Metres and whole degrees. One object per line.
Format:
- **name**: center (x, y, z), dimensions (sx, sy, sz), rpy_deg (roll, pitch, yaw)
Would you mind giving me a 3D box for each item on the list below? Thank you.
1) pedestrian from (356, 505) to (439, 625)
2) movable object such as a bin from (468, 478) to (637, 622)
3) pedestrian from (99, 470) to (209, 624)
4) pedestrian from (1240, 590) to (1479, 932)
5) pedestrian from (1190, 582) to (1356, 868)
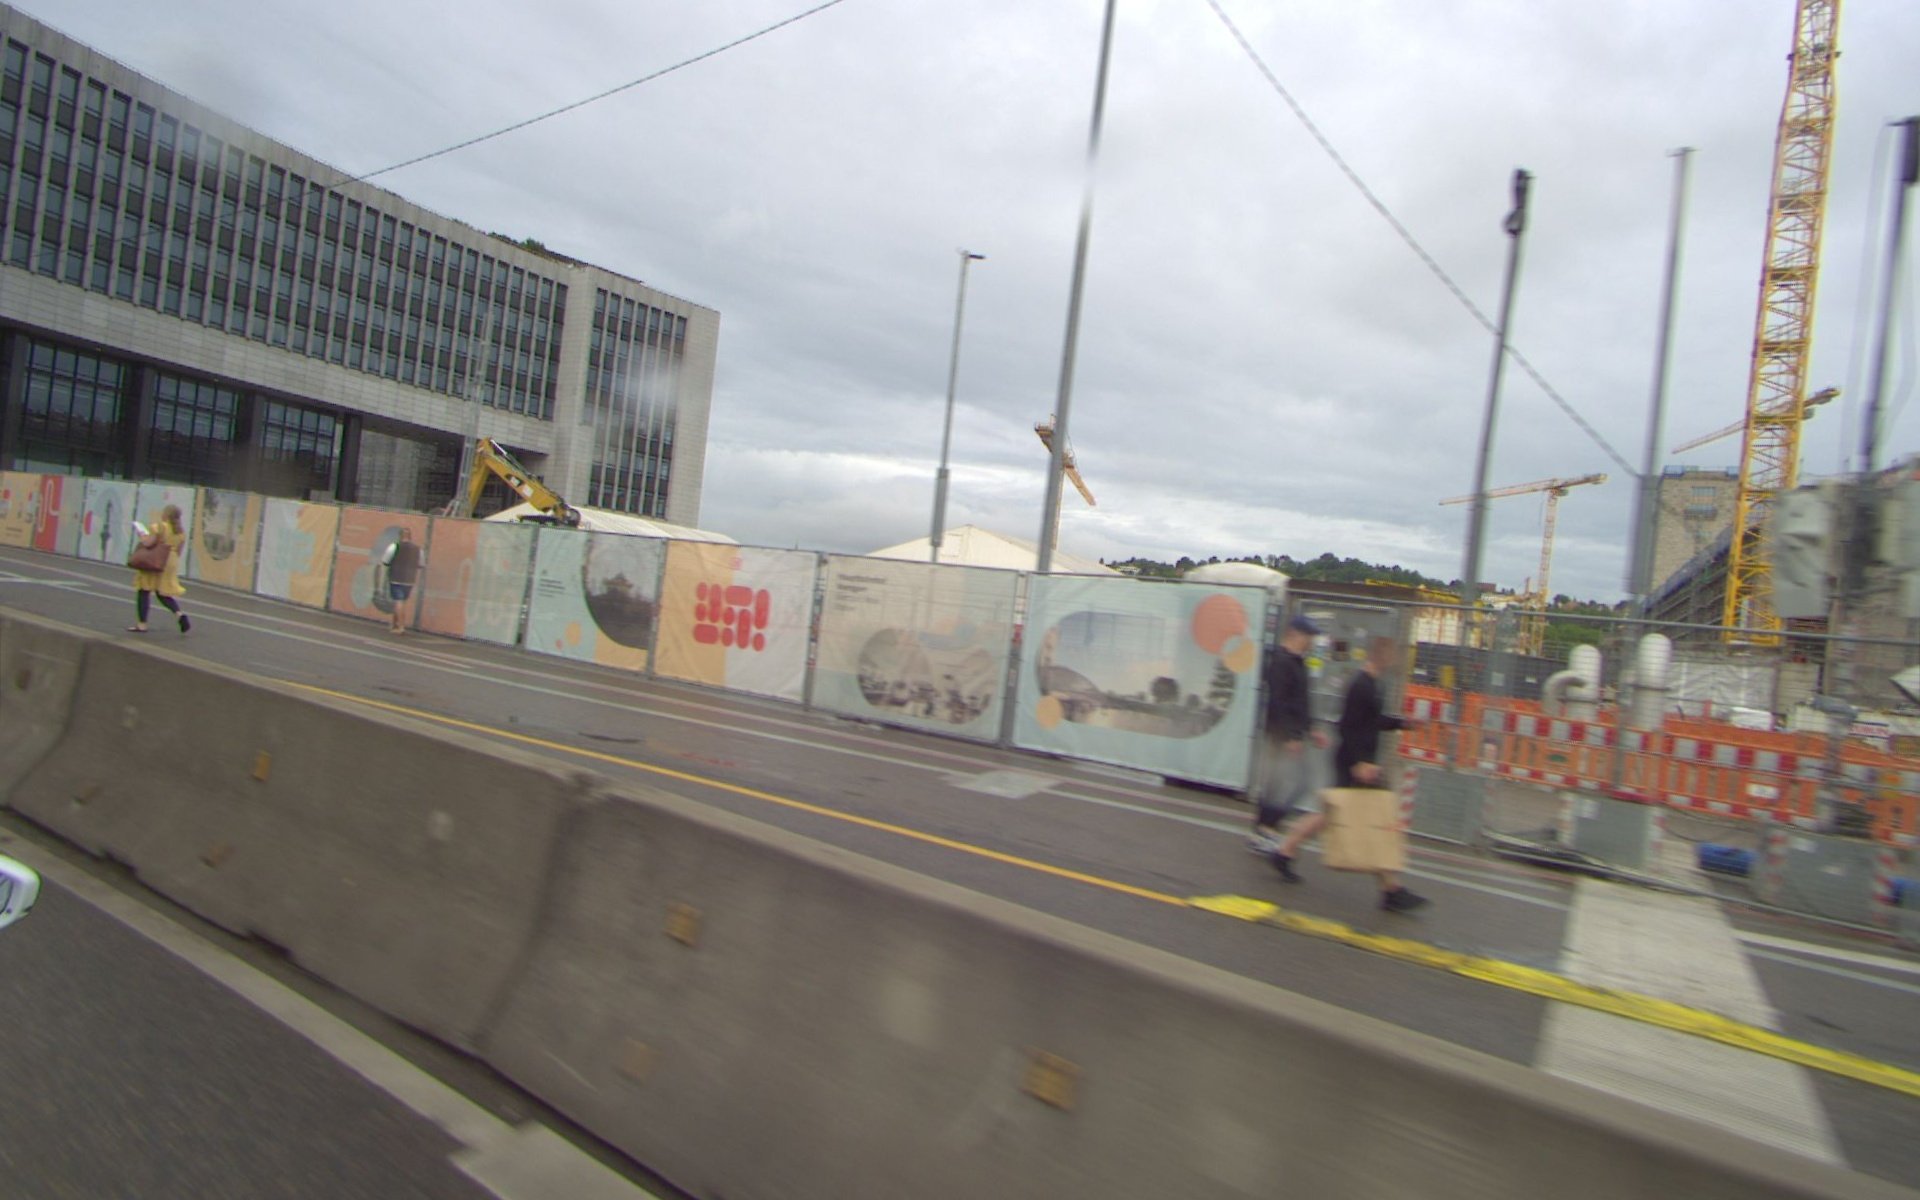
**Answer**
- **pedestrian**: center (-9.454, -0.573, 16.910), dimensions (0.798, 1.885, 0.780), rpy_deg (7, 1, 30)
- **movable object such as a bin**: center (-13.306, -1.563, 33.073), dimensions (3.626, 4.078, 3.100), rpy_deg (7, -1, 11)
- **pedestrian**: center (-10.498, -0.683, 13.108), dimensions (0.818, 1.876, 0.733), rpy_deg (7, 0, 32)
- **pedestrian**: center (2.514, 0.937, 6.320), dimensions (1.093, 1.850, 0.820), rpy_deg (7, 1, 32)
- **pedestrian**: center (2.312, 0.882, 7.397), dimensions (0.798, 1.884, 0.780), rpy_deg (7, 0, 30)
